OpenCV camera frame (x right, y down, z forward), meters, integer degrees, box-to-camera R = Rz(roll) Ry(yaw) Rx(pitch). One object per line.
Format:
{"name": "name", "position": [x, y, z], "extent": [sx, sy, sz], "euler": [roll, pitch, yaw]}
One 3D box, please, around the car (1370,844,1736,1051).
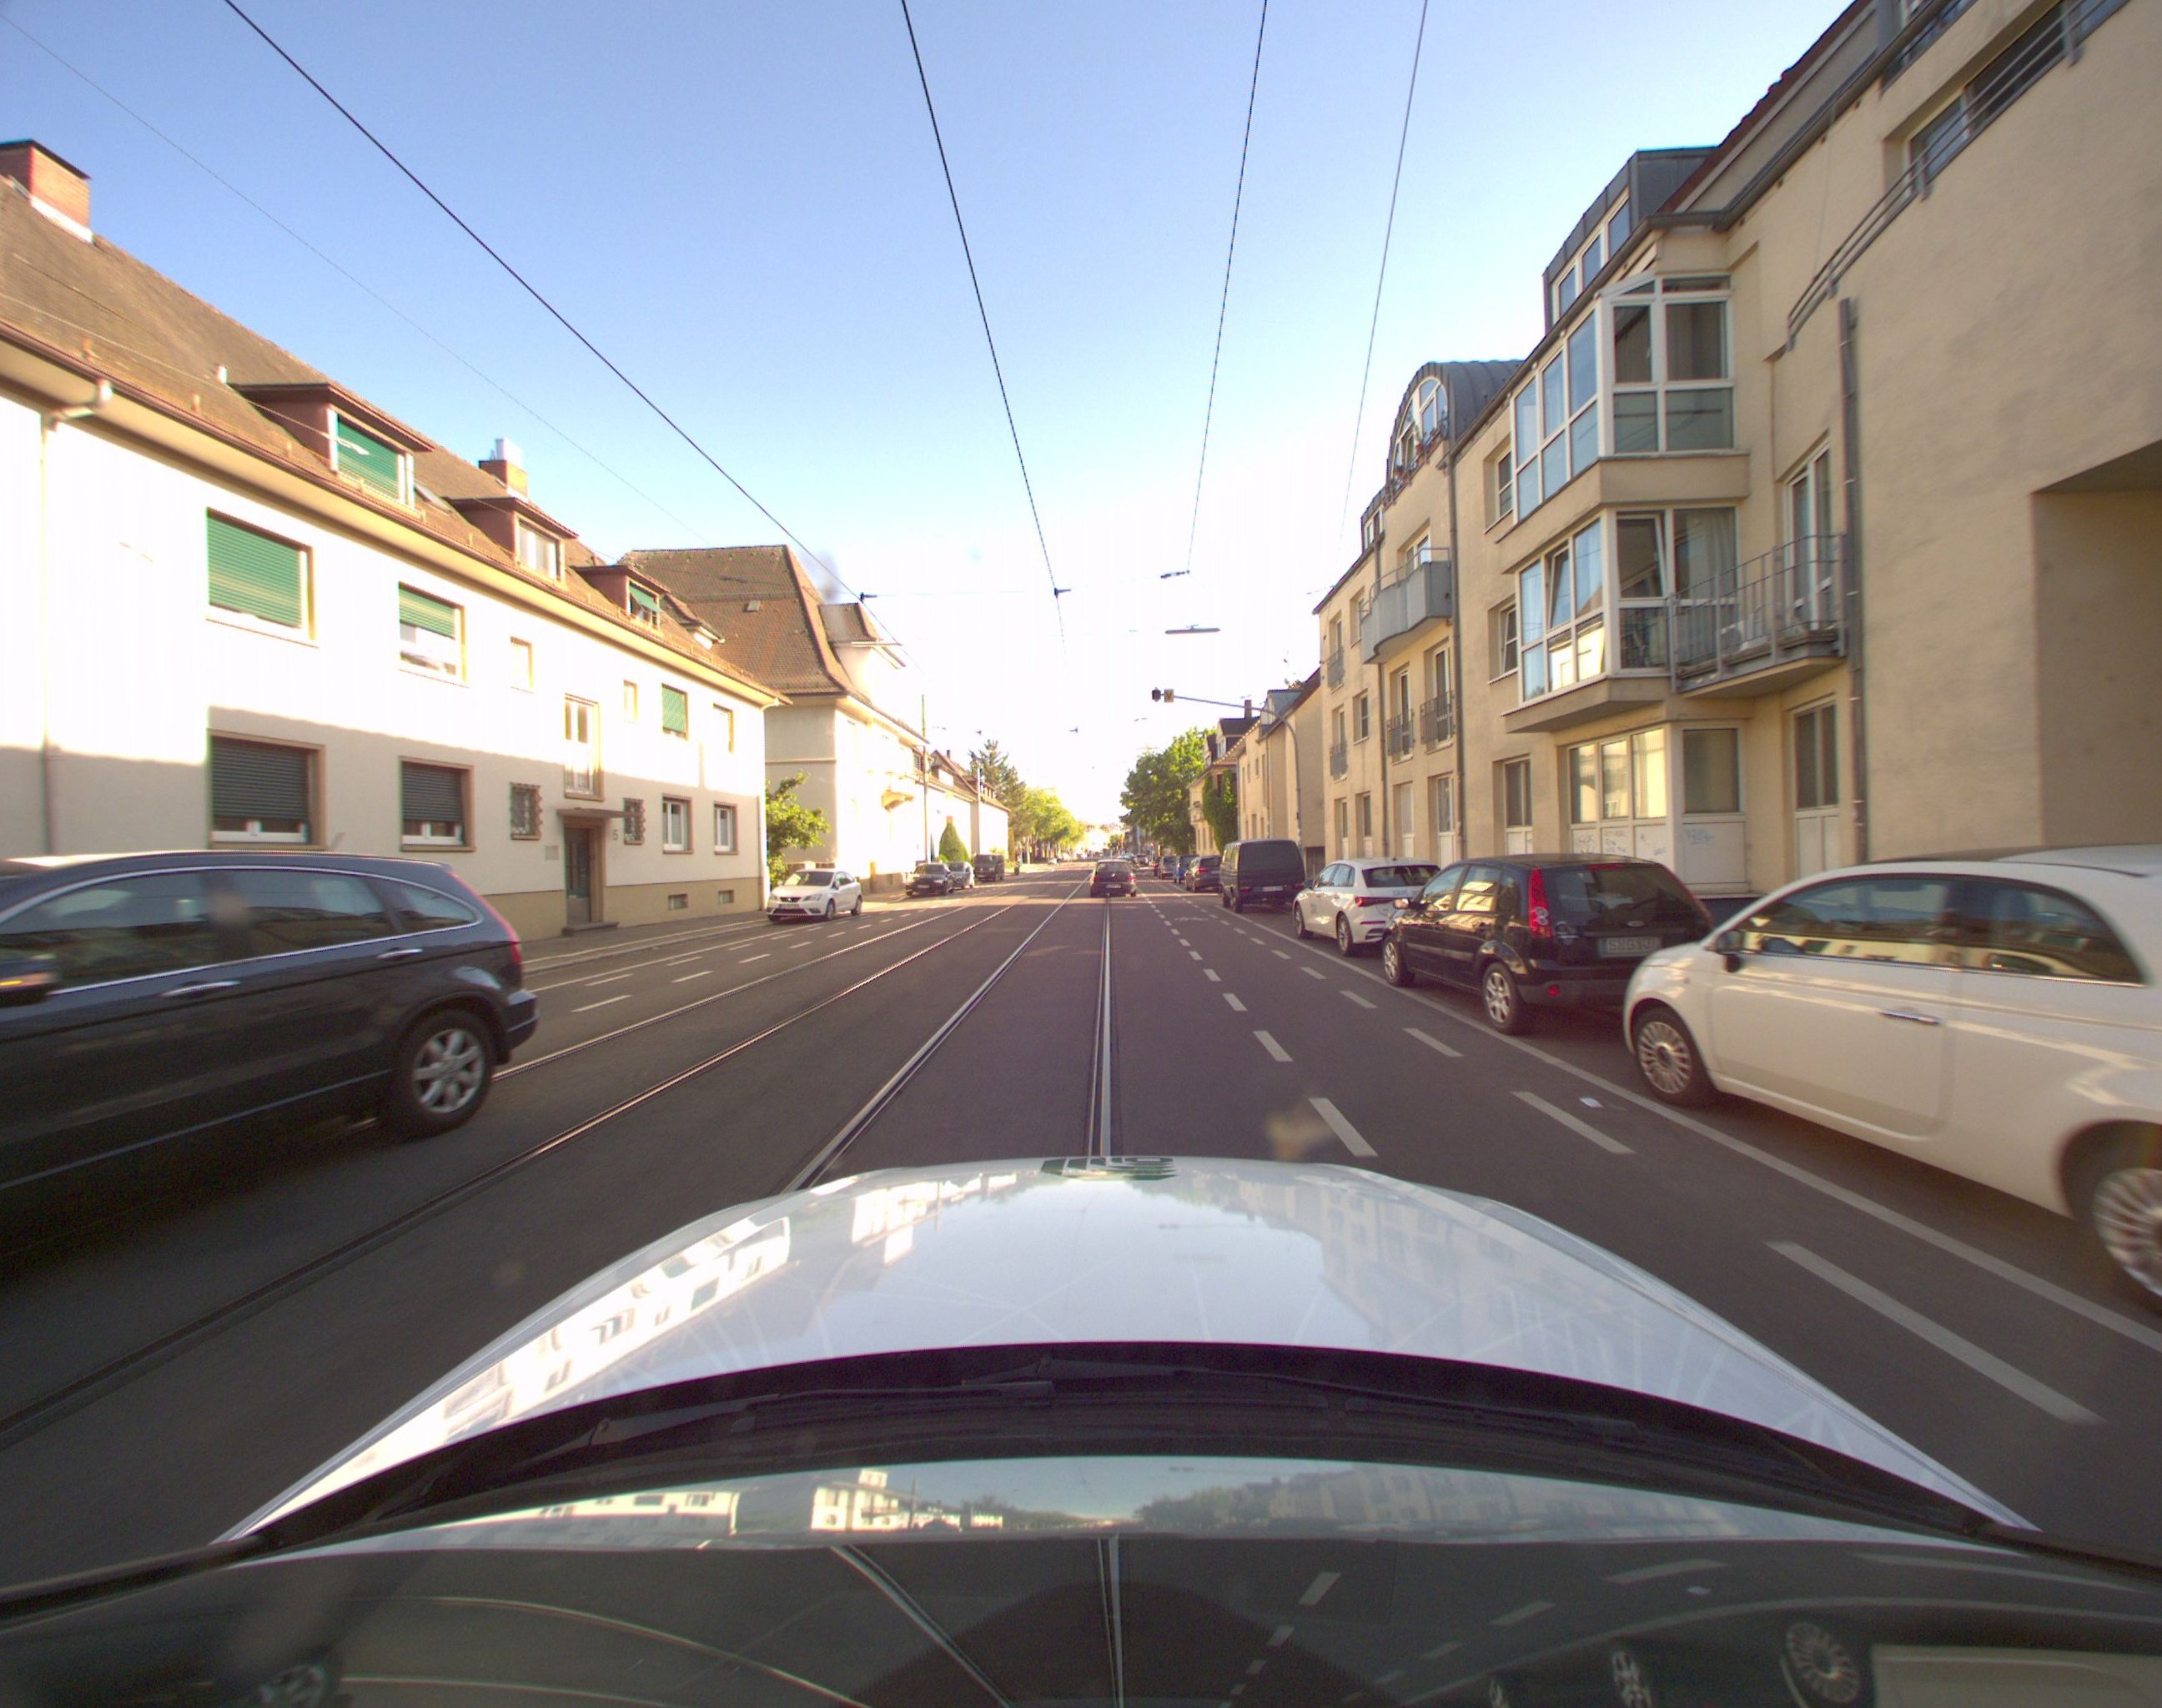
{"name": "car", "position": [4.215, 0.705, 7.982], "extent": [1.548, 1.557, 3.653], "euler": [0, 0, 1]}

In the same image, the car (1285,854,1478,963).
{"name": "car", "position": [4.632, 0.744, 13.224], "extent": [1.671, 1.491, 4.173], "euler": [0, 0, 1]}

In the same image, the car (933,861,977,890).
{"name": "car", "position": [-6.860, 1.151, 44.670], "extent": [1.670, 1.477, 3.837], "euler": [0, 0, 2]}

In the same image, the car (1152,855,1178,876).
{"name": "car", "position": [6.324, 0.837, 61.501], "extent": [1.659, 1.564, 3.772], "euler": [0, 0, 2]}

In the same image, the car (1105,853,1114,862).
{"name": "car", "position": [5.784, 0.737, 167.135], "extent": [1.781, 1.860, 4.000], "euler": [1, 0, 0]}

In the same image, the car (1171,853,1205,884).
{"name": "car", "position": [5.780, 0.754, 44.203], "extent": [1.452, 1.599, 3.294], "euler": [0, 0, 0]}

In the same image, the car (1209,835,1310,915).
{"name": "car", "position": [4.838, 0.522, 22.703], "extent": [1.899, 1.987, 4.564], "euler": [0, 0, 1]}

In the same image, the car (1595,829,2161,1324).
{"name": "car", "position": [4.168, 0.701, 3.793], "extent": [1.491, 1.557, 3.365], "euler": [0, 0, 1]}

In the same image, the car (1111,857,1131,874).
{"name": "car", "position": [3.615, 1.004, 73.696], "extent": [1.733, 1.441, 3.811], "euler": [-1, 0, 2]}

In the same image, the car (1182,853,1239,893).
{"name": "car", "position": [5.397, 0.747, 34.412], "extent": [1.738, 1.599, 4.433], "euler": [0, 0, 0]}

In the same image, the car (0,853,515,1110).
{"name": "car", "position": [-7.890, 0.897, 7.694], "extent": [1.756, 1.704, 4.556], "euler": [-3, 0, 1]}

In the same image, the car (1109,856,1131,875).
{"name": "car", "position": [3.033, 0.883, 63.125], "extent": [1.628, 1.372, 3.760], "euler": [-2, 0, 3]}

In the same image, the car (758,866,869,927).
{"name": "car", "position": [-7.439, 1.132, 23.096], "extent": [1.625, 1.457, 4.017], "euler": [-3, 0, 2]}

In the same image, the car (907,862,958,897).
{"name": "car", "position": [-6.864, 1.160, 38.024], "extent": [1.658, 1.477, 4.247], "euler": [-1, 0, -2]}

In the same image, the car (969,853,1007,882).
{"name": "car", "position": [-6.623, 0.927, 58.588], "extent": [1.898, 2.014, 4.953], "euler": [0, 0, 3]}

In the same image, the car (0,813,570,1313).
{"name": "car", "position": [-4.534, 0.755, 3.519], "extent": [1.697, 1.704, 4.366], "euler": [-3, 0, 2]}

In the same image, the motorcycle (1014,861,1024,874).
{"name": "motorcycle", "position": [-5.634, 1.213, 74.090], "extent": [0.534, 1.162, 2.173], "euler": [-3, 0, 2]}

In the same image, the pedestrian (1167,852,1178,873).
{"name": "pedestrian", "position": [7.758, 0.700, 69.030], "extent": [0.715, 1.688, 0.870], "euler": [-3, 0, 0]}

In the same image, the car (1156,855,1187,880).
{"name": "car", "position": [5.828, 0.851, 52.788], "extent": [1.596, 1.525, 3.549], "euler": [0, 0, 0]}

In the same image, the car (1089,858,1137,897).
{"name": "car", "position": [1.221, 0.855, 31.171], "extent": [1.709, 1.402, 4.008], "euler": [0, 0, 2]}

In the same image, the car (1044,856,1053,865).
{"name": "car", "position": [-5.720, 1.163, 143.654], "extent": [1.572, 1.477, 3.436], "euler": [-2, 0, -4]}
